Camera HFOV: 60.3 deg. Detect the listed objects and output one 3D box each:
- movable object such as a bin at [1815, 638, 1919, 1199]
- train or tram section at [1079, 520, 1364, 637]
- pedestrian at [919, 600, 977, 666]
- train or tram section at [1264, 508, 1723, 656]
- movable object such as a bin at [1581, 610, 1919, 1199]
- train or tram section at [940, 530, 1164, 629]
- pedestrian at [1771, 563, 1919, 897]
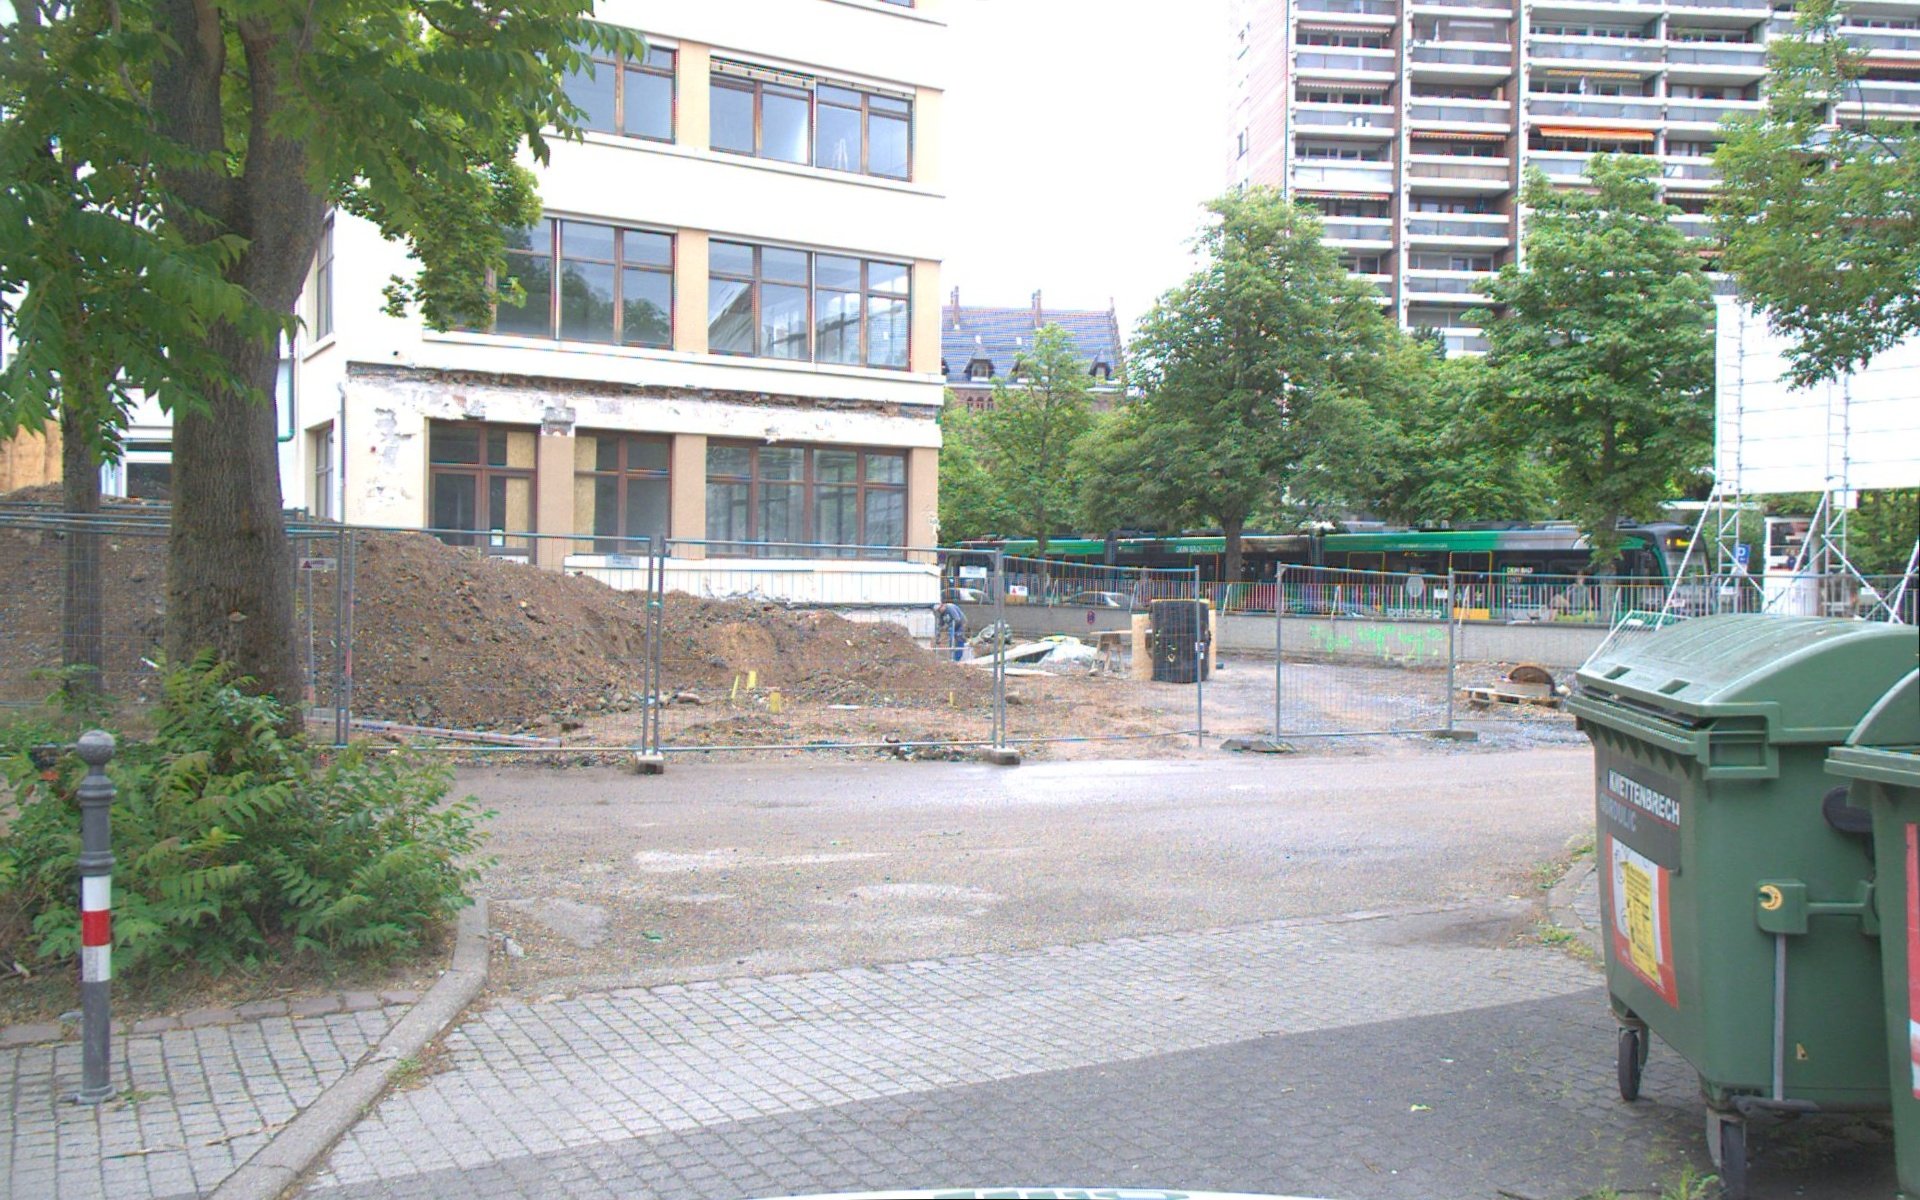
[{"bbox_3d":[2.571,0.839,3.190,1.085,1.475,1.283,1,0,-9],"label":"movable object such as a bin"},{"bbox_3d":[8.784,-0.720,58.094,2.633,3.677,12.327,1,0,-31],"label":"train or tram section"},{"bbox_3d":[-0.271,0.740,37.610,0.972,1.463,0.919,1,0,-35],"label":"pedestrian"},{"bbox_3d":[14.738,-0.515,48.081,2.632,3.677,14.616,1,0,-31],"label":"train or tram section"},{"bbox_3d":[2.441,0.770,4.652,1.045,1.459,1.276,1,0,8],"label":"movable object such as a bin"},{"bbox_3d":[3.421,-0.814,67.160,2.633,3.677,12.327,1,0,-31],"label":"train or tram section"},{"bbox_3d":[5.105,0.703,9.462,0.736,1.812,0.660,0,0,36],"label":"pedestrian"}]
